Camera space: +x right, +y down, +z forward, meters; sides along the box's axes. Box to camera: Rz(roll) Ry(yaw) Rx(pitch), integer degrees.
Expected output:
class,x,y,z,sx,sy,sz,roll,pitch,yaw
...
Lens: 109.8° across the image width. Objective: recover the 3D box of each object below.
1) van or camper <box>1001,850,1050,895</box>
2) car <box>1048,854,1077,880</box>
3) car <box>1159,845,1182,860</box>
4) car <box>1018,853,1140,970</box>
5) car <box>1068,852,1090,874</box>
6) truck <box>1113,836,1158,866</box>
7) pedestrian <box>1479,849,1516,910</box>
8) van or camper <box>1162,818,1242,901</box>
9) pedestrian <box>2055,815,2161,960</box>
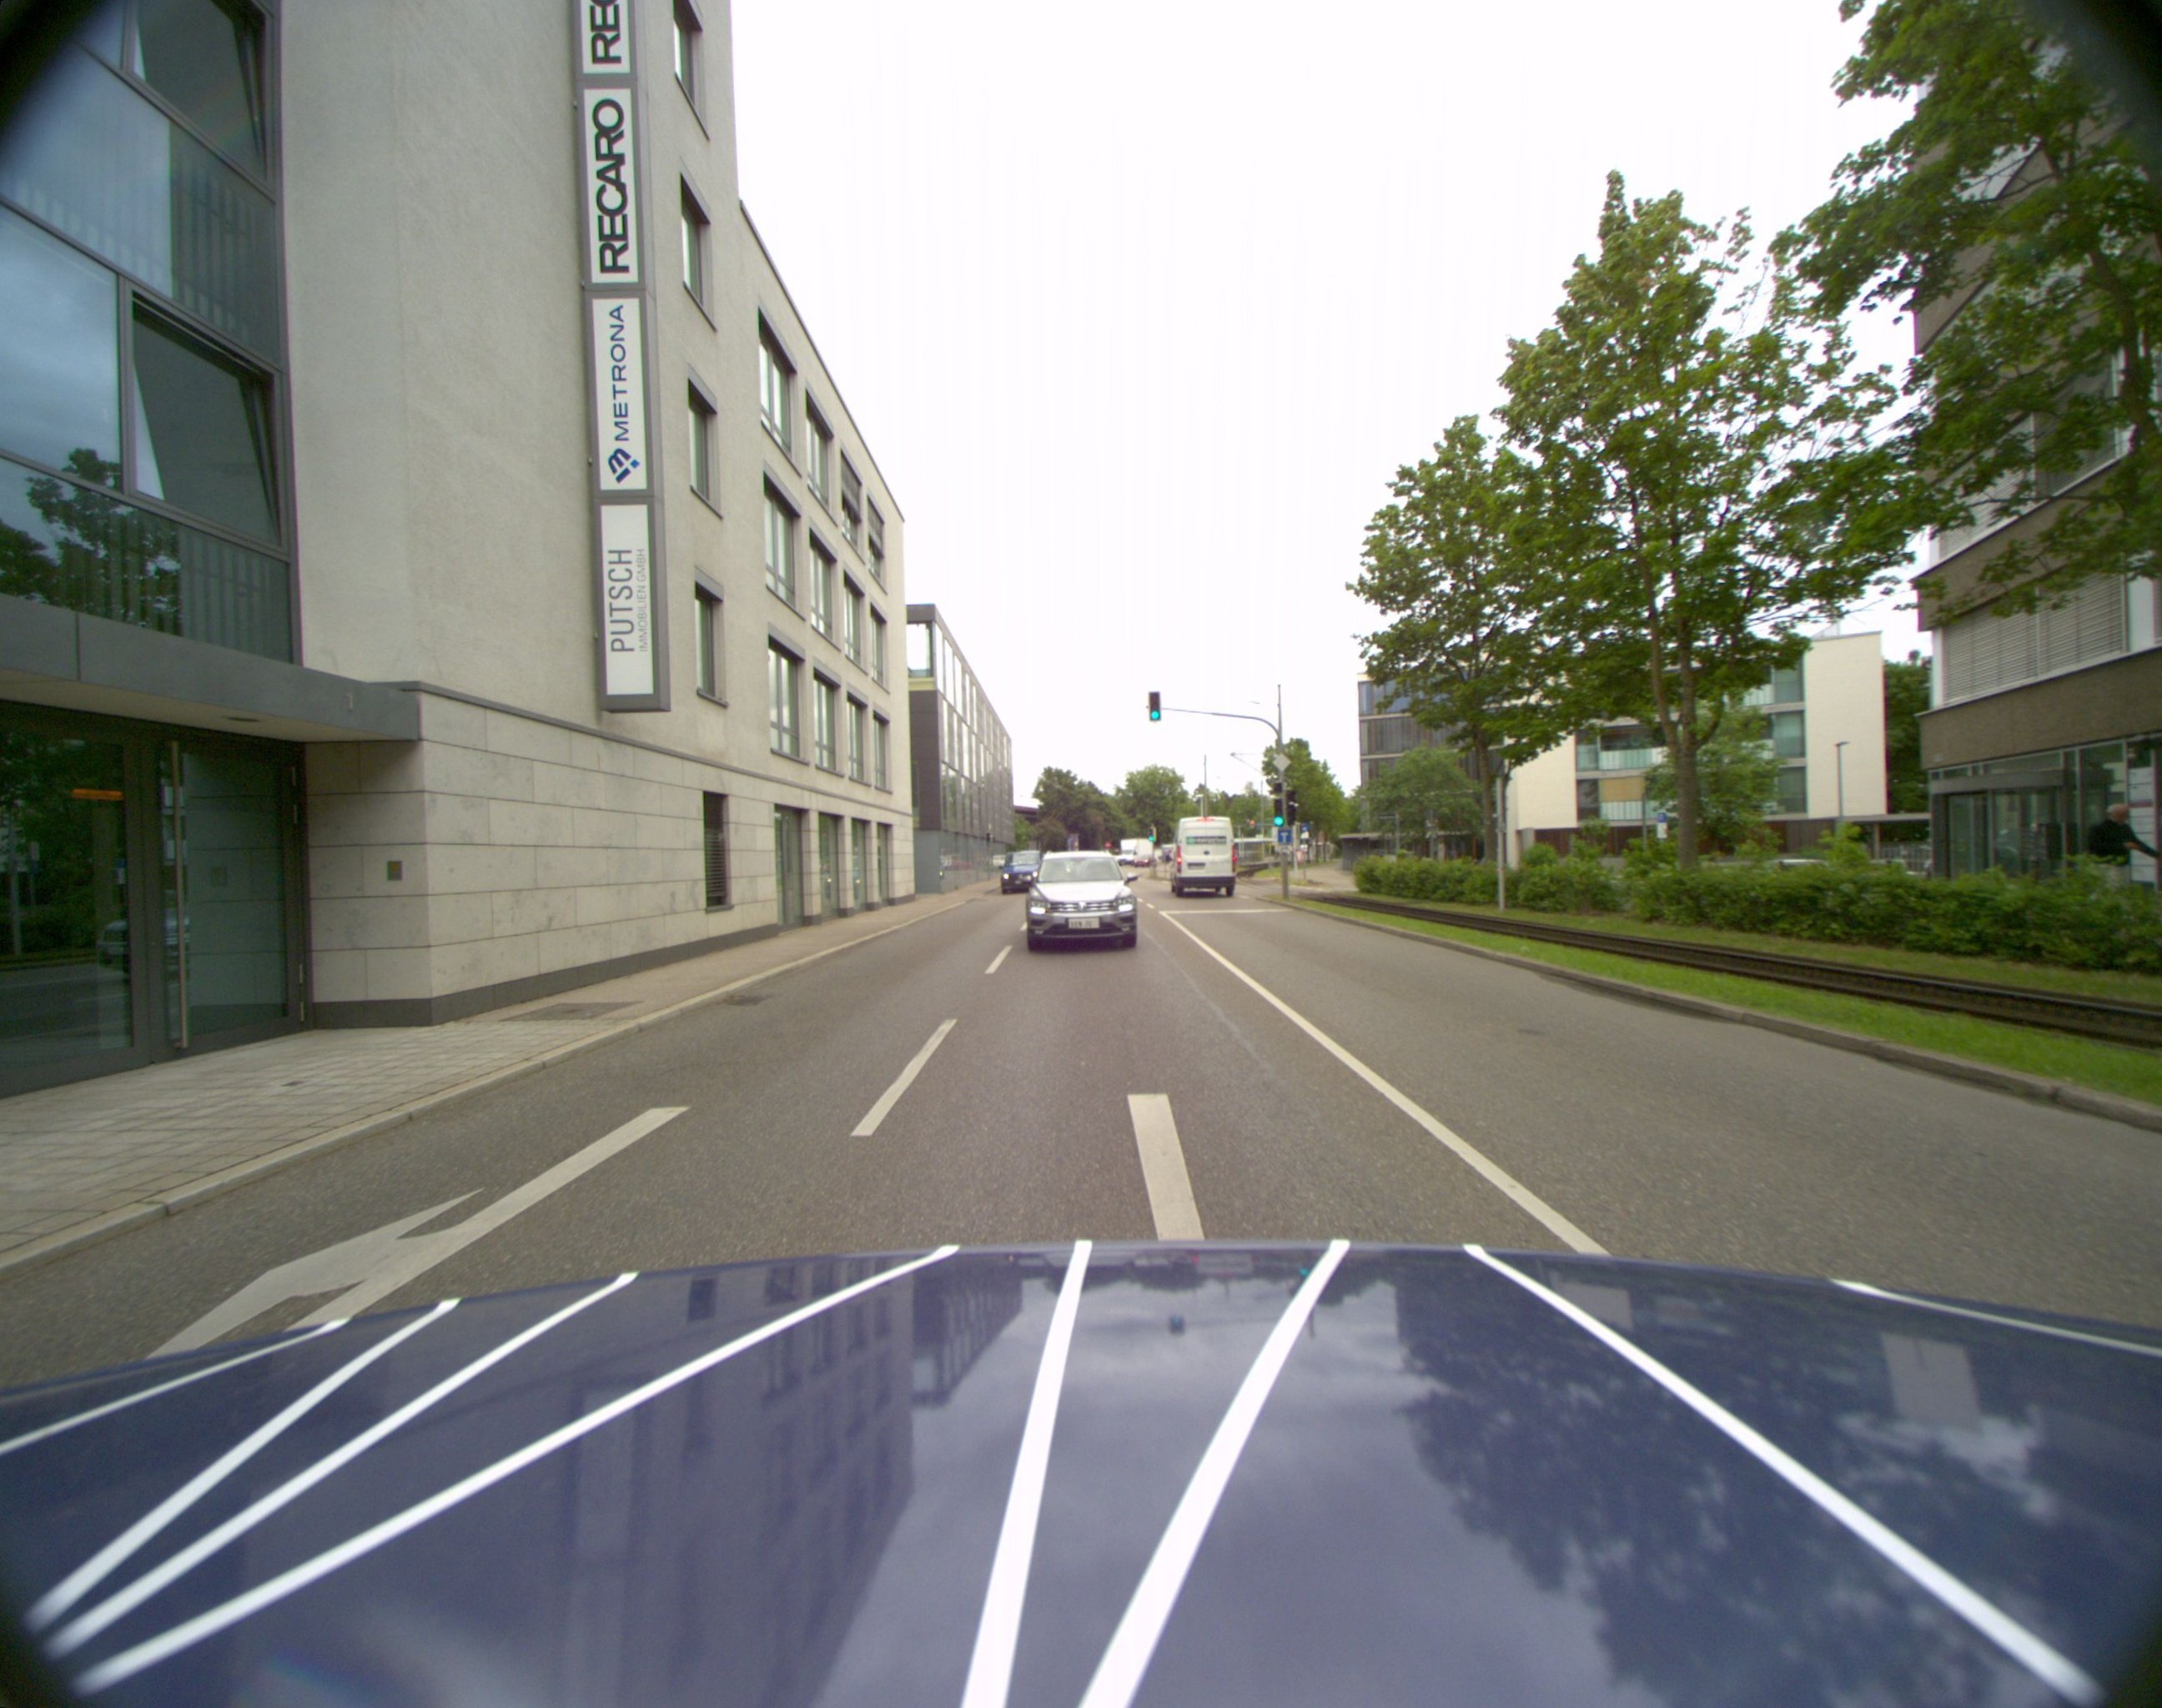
class,x,y,z,sx,sy,sz,roll,pitch,yaw
van or camper,-2.532,0.790,35.705,1.864,1.900,5.032,-2,0,0
car,-1.370,0.947,58.464,1.998,1.805,4.000,-2,1,1
car,12.807,-0.238,108.508,1.995,2.002,4.006,-2,1,24
car,-0.017,0.867,13.747,1.798,1.716,4.458,-2,0,0
car,-0.183,0.849,76.048,1.998,2.002,3.999,-2,1,1
truck,7.088,-0.469,97.377,2.317,3.626,8.024,-2,1,30
pedestrian,12.786,0.770,23.327,0.680,1.795,0.731,-2,1,-4
van or camper,4.422,0.148,28.733,2.112,2.718,6.151,-2,1,2
pedestrian,14.068,0.429,10.306,0.776,1.883,0.731,-2,1,-1
